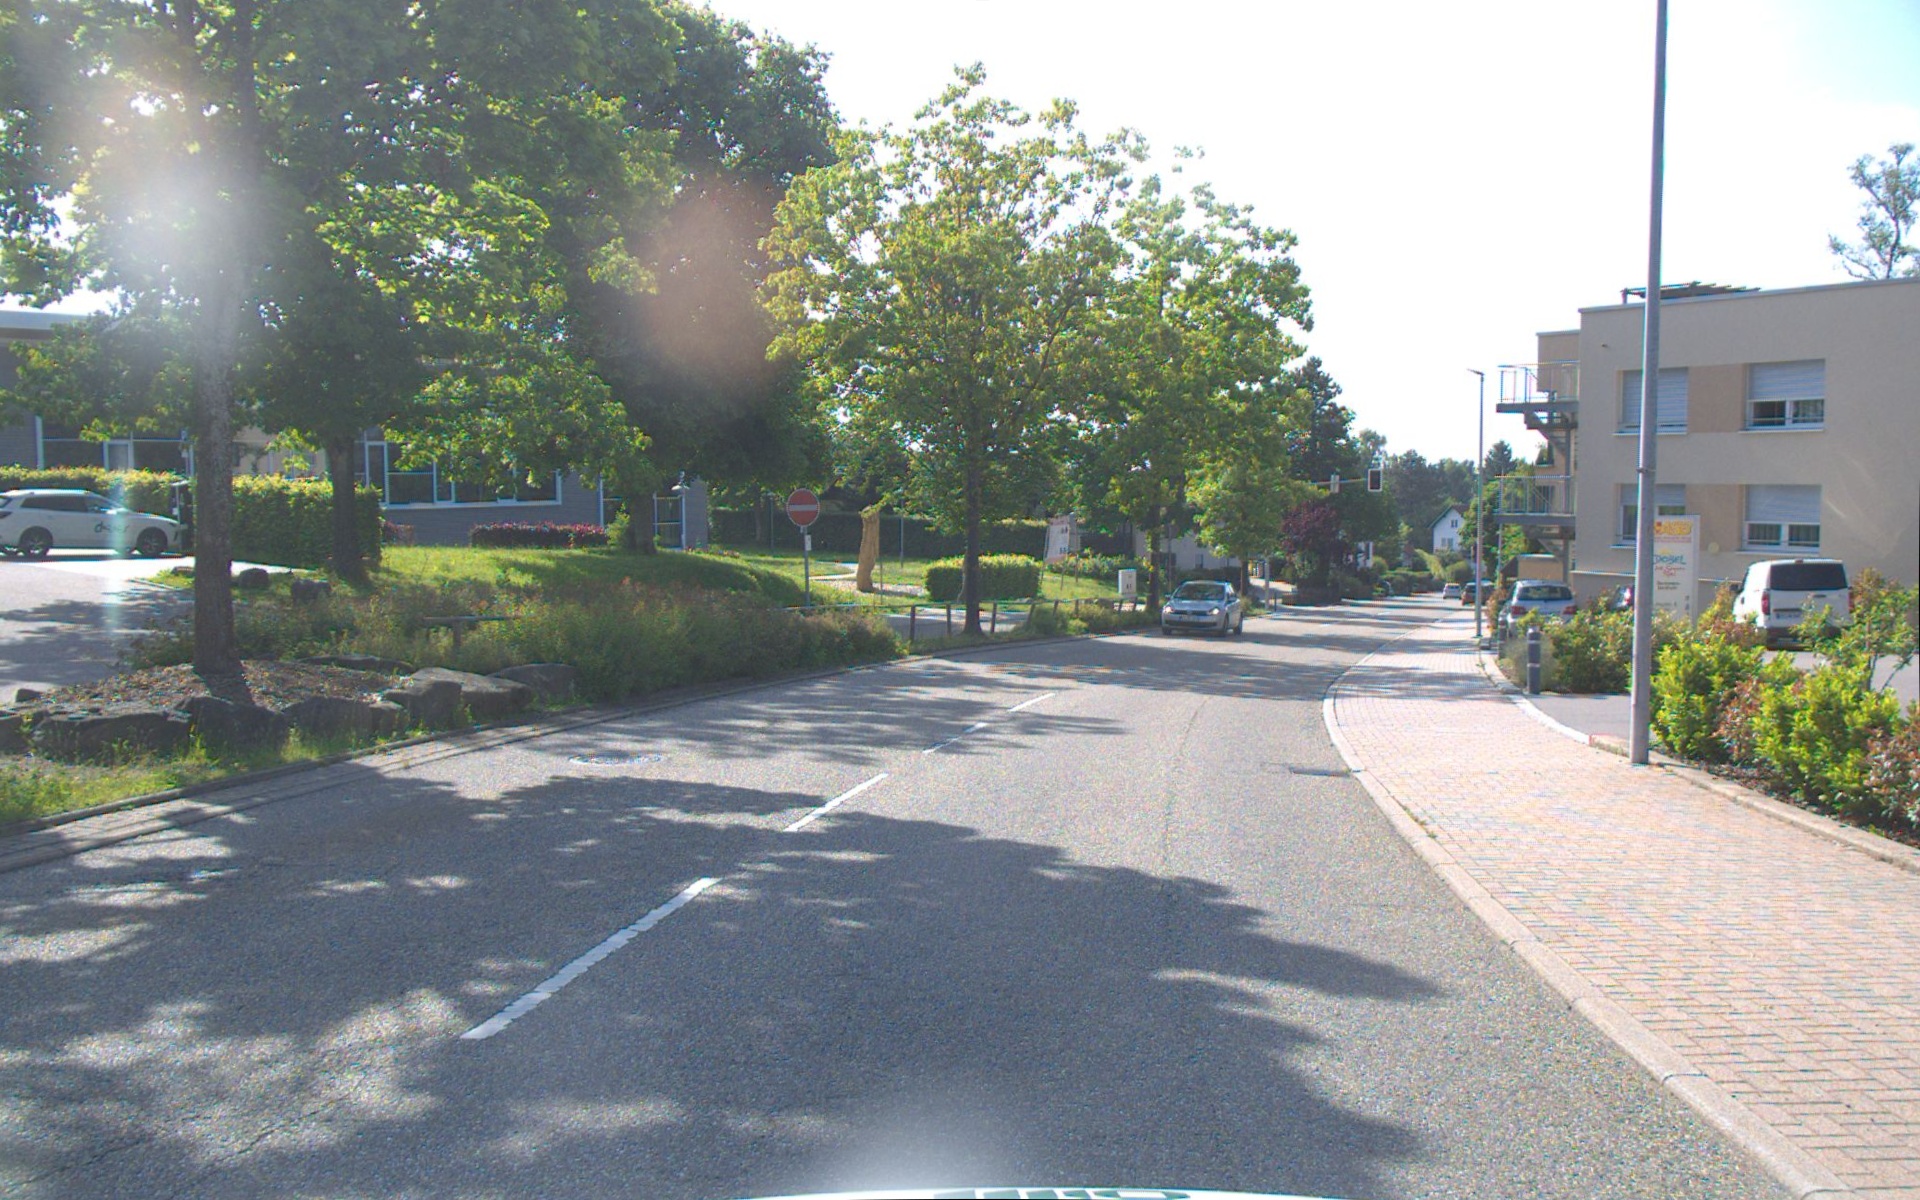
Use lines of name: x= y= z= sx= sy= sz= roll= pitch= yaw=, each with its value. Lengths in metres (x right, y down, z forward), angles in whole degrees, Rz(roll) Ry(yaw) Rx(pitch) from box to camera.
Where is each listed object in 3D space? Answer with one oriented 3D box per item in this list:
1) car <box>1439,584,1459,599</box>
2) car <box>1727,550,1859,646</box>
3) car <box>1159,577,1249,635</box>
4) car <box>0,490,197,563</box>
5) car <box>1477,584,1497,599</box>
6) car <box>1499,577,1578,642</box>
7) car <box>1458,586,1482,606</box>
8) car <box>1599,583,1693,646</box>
car: x=48.484 y=-0.852 z=163.819 sx=1.673 sy=1.452 sz=4.008 roll=1 pitch=1 yaw=20
car: x=18.345 y=-0.065 z=36.622 sx=1.765 sy=1.969 sz=4.737 roll=1 pitch=1 yaw=16
car: x=6.765 y=0.143 z=45.609 sx=1.693 sy=1.468 sz=4.066 roll=2 pitch=1 yaw=19
car: x=-21.409 y=-1.840 z=40.392 sx=1.966 sy=1.559 sz=4.703 roll=8 pitch=8 yaw=41
car: x=52.245 y=-0.863 z=164.004 sx=1.672 sy=1.452 sz=4.010 roll=1 pitch=1 yaw=16
car: x=14.746 y=0.213 z=42.321 sx=1.672 sy=1.562 sz=4.010 roll=1 pitch=1 yaw=16
car: x=38.192 y=-0.305 z=123.928 sx=1.672 sy=1.452 sz=4.010 roll=1 pitch=1 yaw=16
car: x=16.771 y=0.322 z=40.594 sx=1.672 sy=1.452 sz=4.010 roll=1 pitch=1 yaw=16
